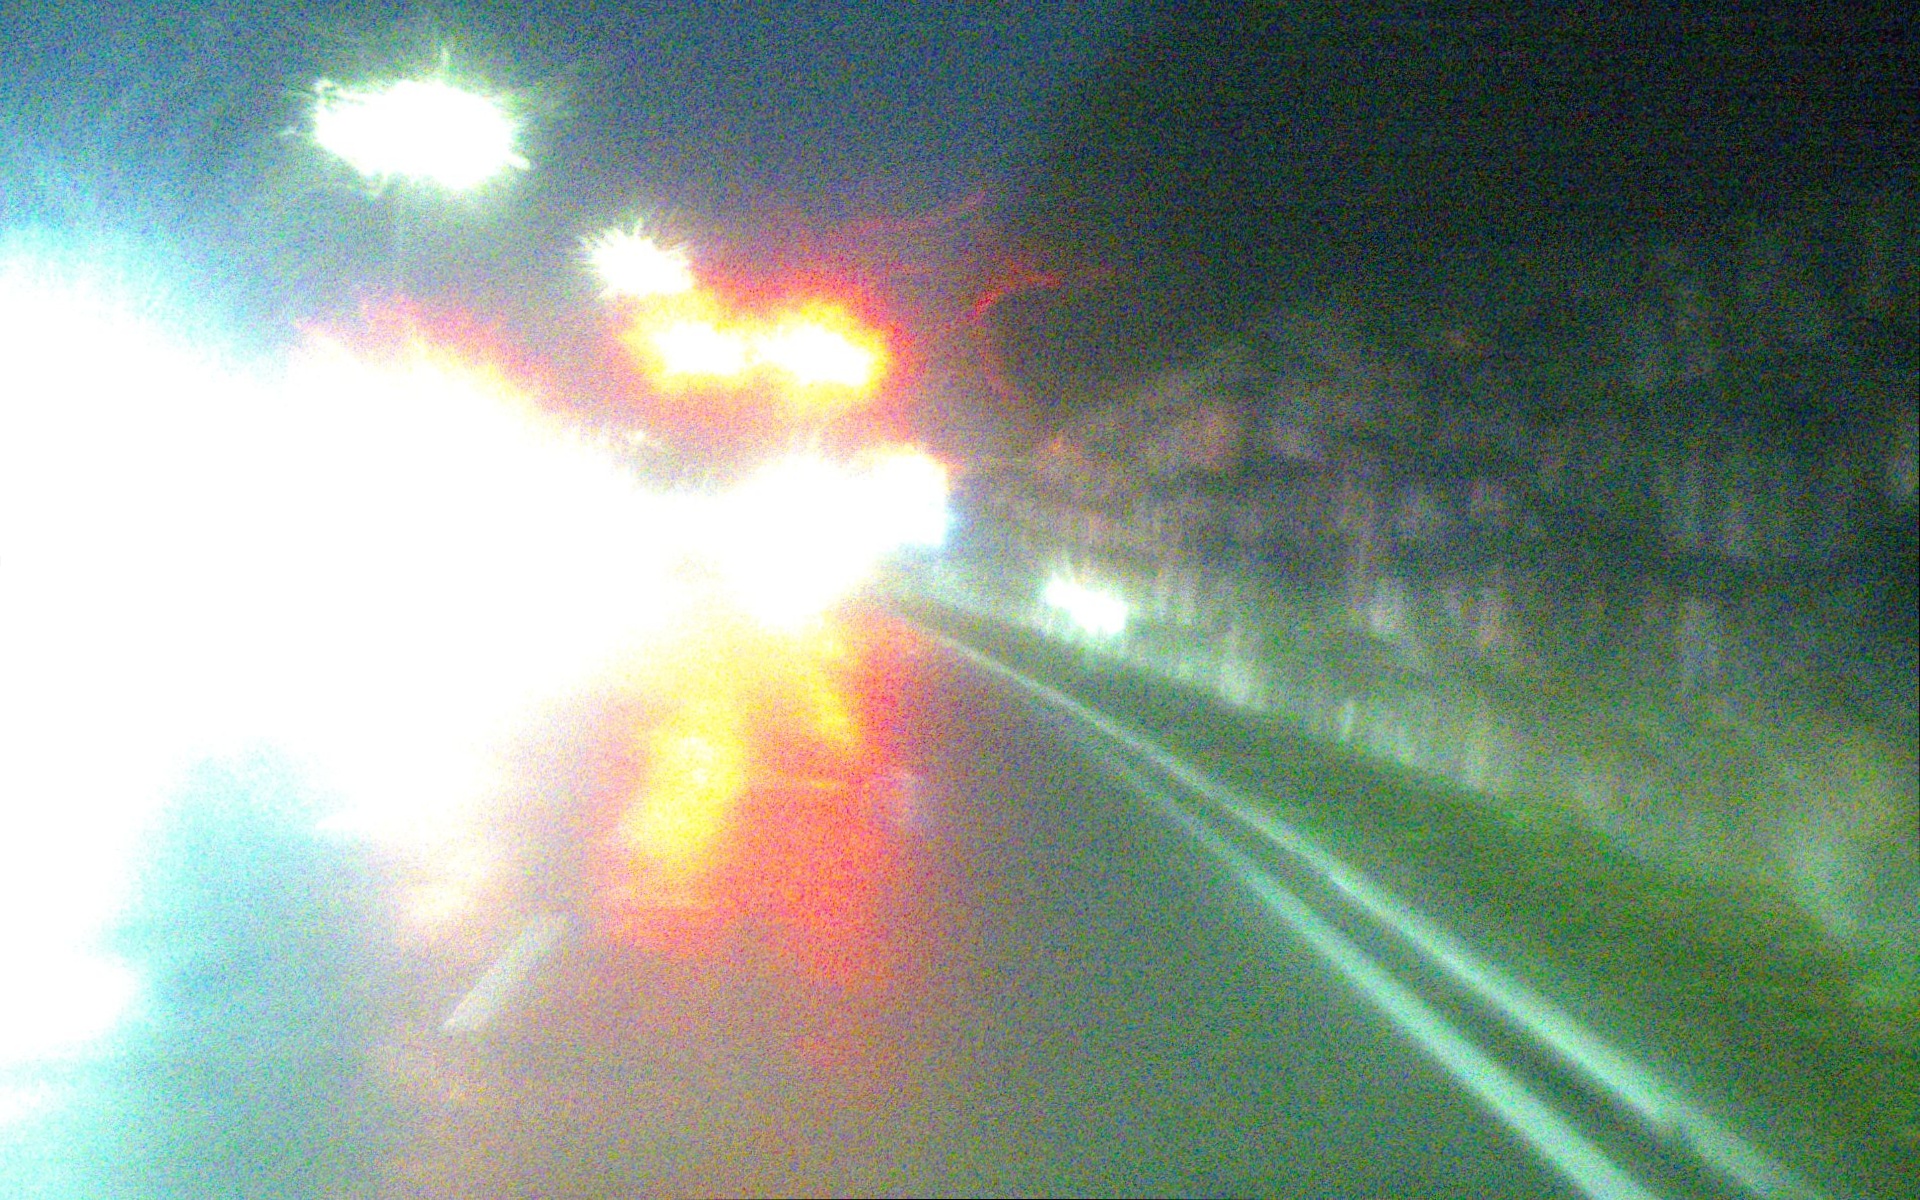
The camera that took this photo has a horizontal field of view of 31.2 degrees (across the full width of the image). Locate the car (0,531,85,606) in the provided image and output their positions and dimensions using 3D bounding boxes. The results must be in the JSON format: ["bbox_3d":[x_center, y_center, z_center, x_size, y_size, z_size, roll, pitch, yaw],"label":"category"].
[{"bbox_3d":[-18.034,-0.615,65.889,1.875,1.392,4.251,0,1,-6],"label":"car"}]
